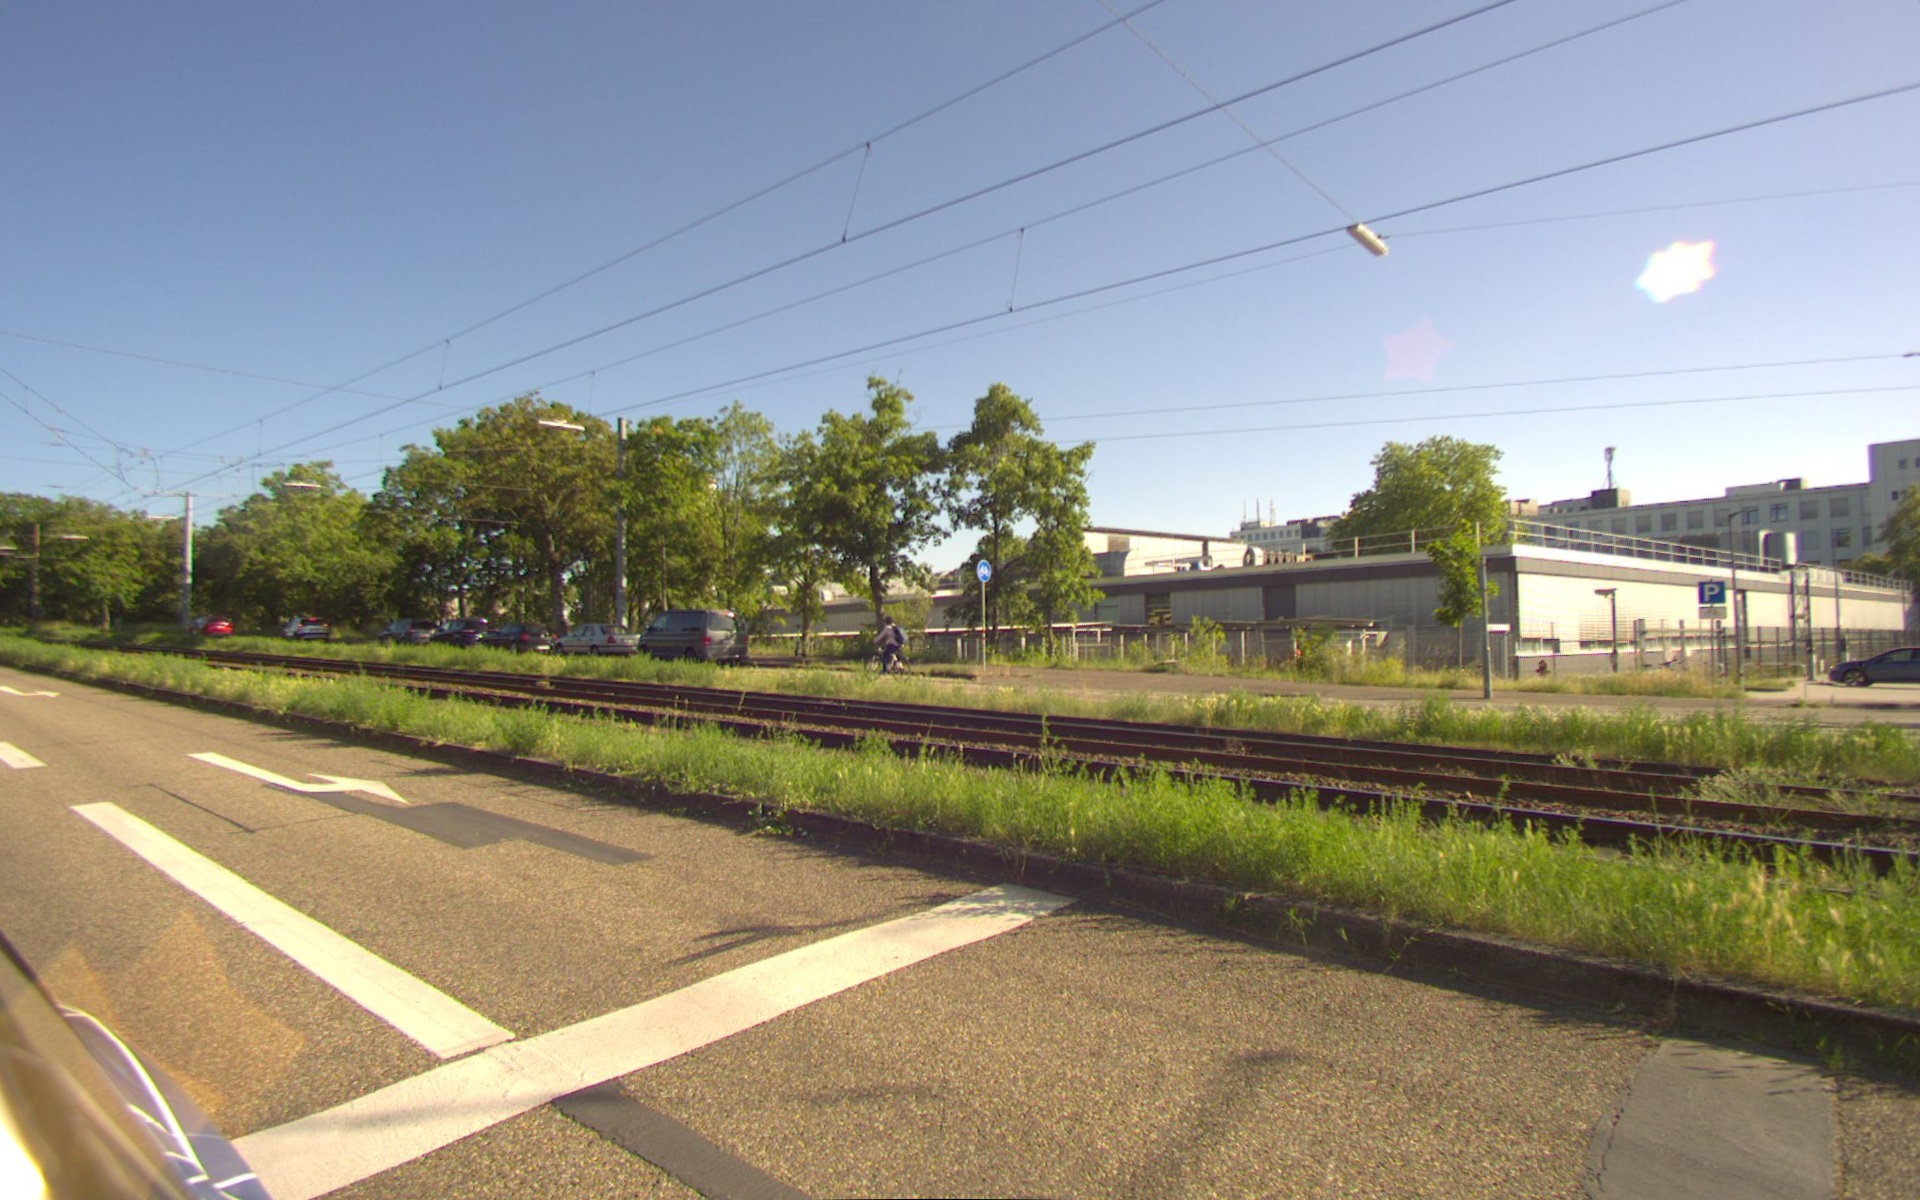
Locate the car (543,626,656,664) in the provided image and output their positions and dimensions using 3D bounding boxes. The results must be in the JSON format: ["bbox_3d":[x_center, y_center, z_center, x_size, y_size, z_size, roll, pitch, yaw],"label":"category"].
[{"bbox_3d":[-14.146,1.740,39.615,4.612,1.391,2.103,-2,-2,39],"label":"car"}]

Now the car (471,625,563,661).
[{"bbox_3d":[-19.132,1.838,43.611,4.486,1.437,1.935,-2,-2,42],"label":"car"}]

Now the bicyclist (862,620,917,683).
[{"bbox_3d":[-1.852,1.333,26.624,1.236,1.605,0.794,-2,-2,42],"label":"bicyclist"}]

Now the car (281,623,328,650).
[{"bbox_3d":[-39.449,2.173,60.867,1.832,1.570,4.162,0,-2,-41],"label":"car"}]

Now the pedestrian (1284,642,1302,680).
[{"bbox_3d":[11.658,2.132,35.461,0.435,1.310,0.441,-1,-2,-1],"label":"pedestrian"}]

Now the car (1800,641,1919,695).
[{"bbox_3d":[32.982,2.342,35.313,2.138,1.762,5.304,0,-2,-37],"label":"car"}]

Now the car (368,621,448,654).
[{"bbox_3d":[-28.174,1.912,51.619,4.557,1.576,2.103,-2,-2,40],"label":"car"}]

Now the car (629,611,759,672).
[{"bbox_3d":[-9.252,1.402,35.028,4.684,1.949,2.178,-2,-2,42],"label":"car"}]

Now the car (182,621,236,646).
[{"bbox_3d":[-54.417,2.396,73.288,4.797,1.747,2.290,-2,-2,43],"label":"car"}]

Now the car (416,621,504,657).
[{"bbox_3d":[-23.334,1.792,47.154,4.614,1.599,2.102,-2,-2,41],"label":"car"}]

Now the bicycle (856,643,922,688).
[{"bbox_3d":[-1.890,1.703,26.657,1.780,1.110,0.689,-2,-2,42],"label":"bicycle"}]
